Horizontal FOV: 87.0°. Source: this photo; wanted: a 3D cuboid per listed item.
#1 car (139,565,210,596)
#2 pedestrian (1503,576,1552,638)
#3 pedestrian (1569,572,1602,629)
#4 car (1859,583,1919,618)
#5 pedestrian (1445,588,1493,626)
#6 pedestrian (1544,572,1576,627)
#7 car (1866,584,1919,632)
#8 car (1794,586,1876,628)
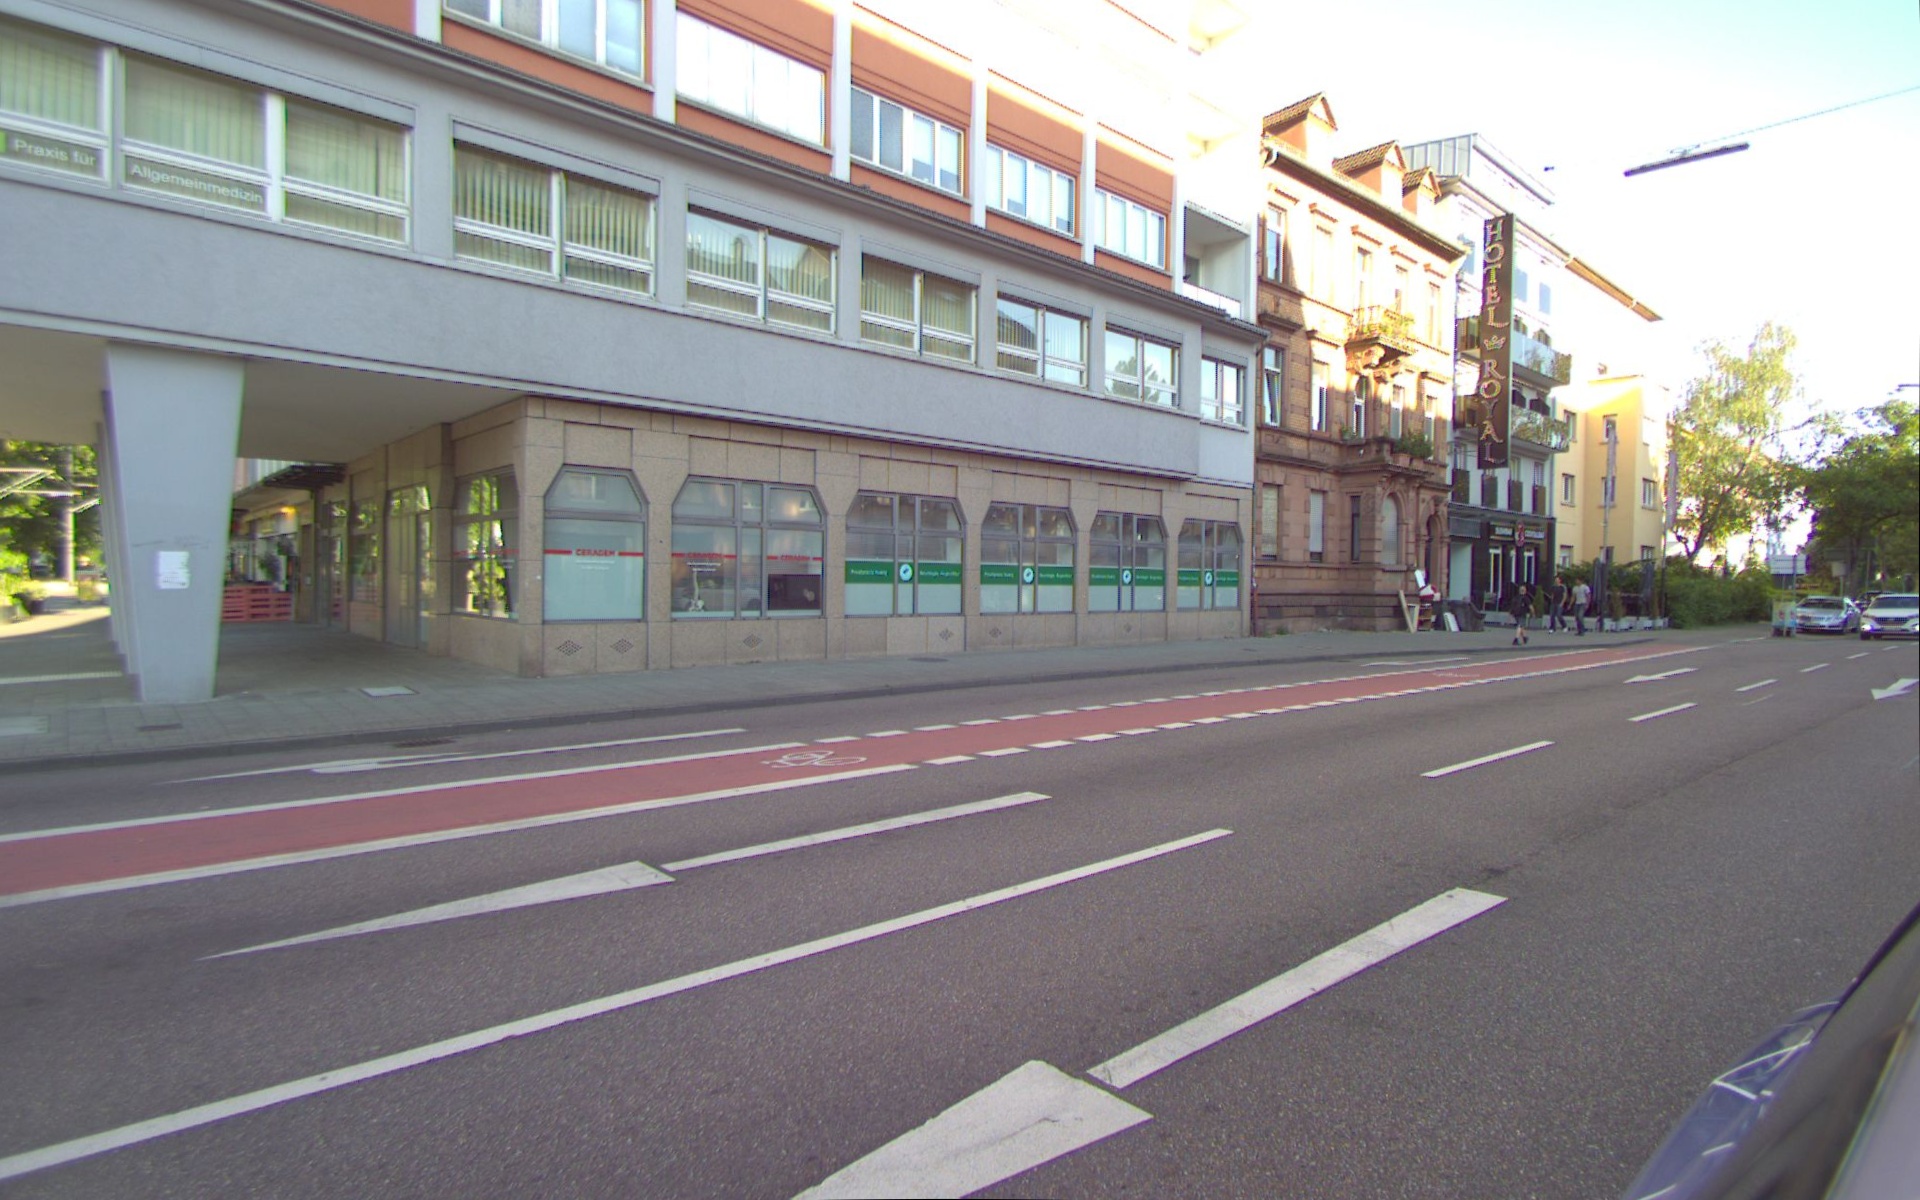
[{"bbox_3d":[-42.279,-1.057,54.561,1.923,1.575,3.882,0,1,-20],"label":"car"},{"bbox_3d":[15.567,0.182,27.754,0.992,1.621,0.739,0,4,-35],"label":"pedestrian"},{"bbox_3d":[19.857,0.005,32.110,0.666,1.747,0.995,2,1,44],"label":"pedestrian"},{"bbox_3d":[46.730,-0.006,50.782,4.121,1.645,1.945,0,1,-42],"label":"car"},{"bbox_3d":[16.142,0.206,32.113,0.909,1.150,1.098,0,1,-43],"label":"pedestrian"},{"bbox_3d":[19.390,-0.016,32.685,0.666,1.747,0.995,2,1,43],"label":"pedestrian"},{"bbox_3d":[34.123,0.259,36.284,4.195,1.627,1.920,-1,1,-41],"label":"car"},{"bbox_3d":[35.064,0.246,40.539,4.003,1.536,1.904,0,1,-41],"label":"car"}]
